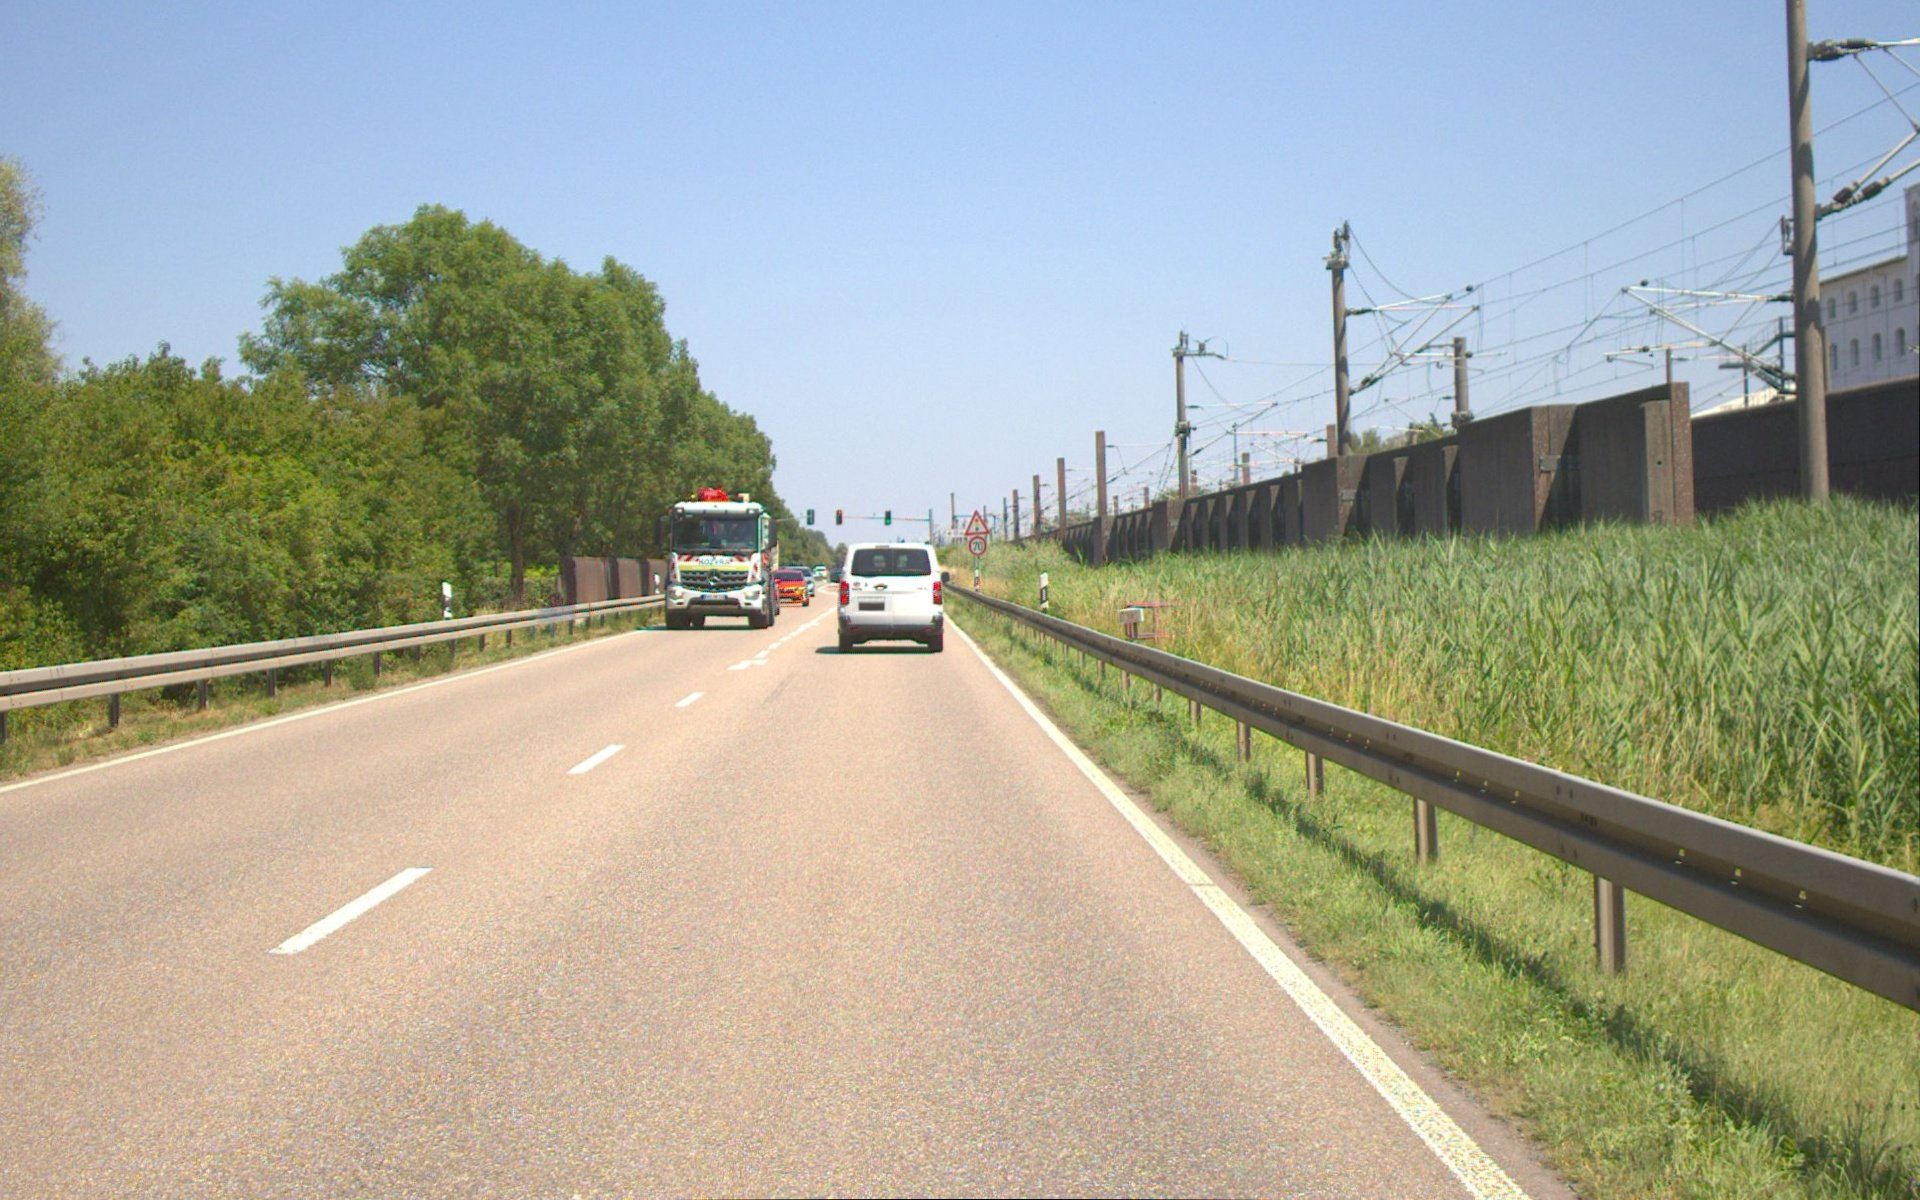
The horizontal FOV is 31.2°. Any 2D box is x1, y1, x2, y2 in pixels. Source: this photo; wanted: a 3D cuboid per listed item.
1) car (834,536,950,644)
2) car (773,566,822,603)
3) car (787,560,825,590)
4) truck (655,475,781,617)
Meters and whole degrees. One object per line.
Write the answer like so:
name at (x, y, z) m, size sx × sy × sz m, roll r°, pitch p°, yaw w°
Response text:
car at (-1.213, -0.199, 61.414) m, size 1.993 × 1.843 × 4.000 m, roll 0°, pitch 1°, yaw -1°
car at (-6.416, -0.608, 135.523) m, size 1.789 × 1.417 × 4.001 m, roll -1°, pitch 1°, yaw -4°
car at (-7.940, -1.285, 177.506) m, size 1.789 × 1.520 × 4.390 m, roll -1°, pitch 1°, yaw 0°
truck at (-6.052, -1.363, 86.890) m, size 2.783 × 3.393 × 7.989 m, roll 0°, pitch 1°, yaw -1°
